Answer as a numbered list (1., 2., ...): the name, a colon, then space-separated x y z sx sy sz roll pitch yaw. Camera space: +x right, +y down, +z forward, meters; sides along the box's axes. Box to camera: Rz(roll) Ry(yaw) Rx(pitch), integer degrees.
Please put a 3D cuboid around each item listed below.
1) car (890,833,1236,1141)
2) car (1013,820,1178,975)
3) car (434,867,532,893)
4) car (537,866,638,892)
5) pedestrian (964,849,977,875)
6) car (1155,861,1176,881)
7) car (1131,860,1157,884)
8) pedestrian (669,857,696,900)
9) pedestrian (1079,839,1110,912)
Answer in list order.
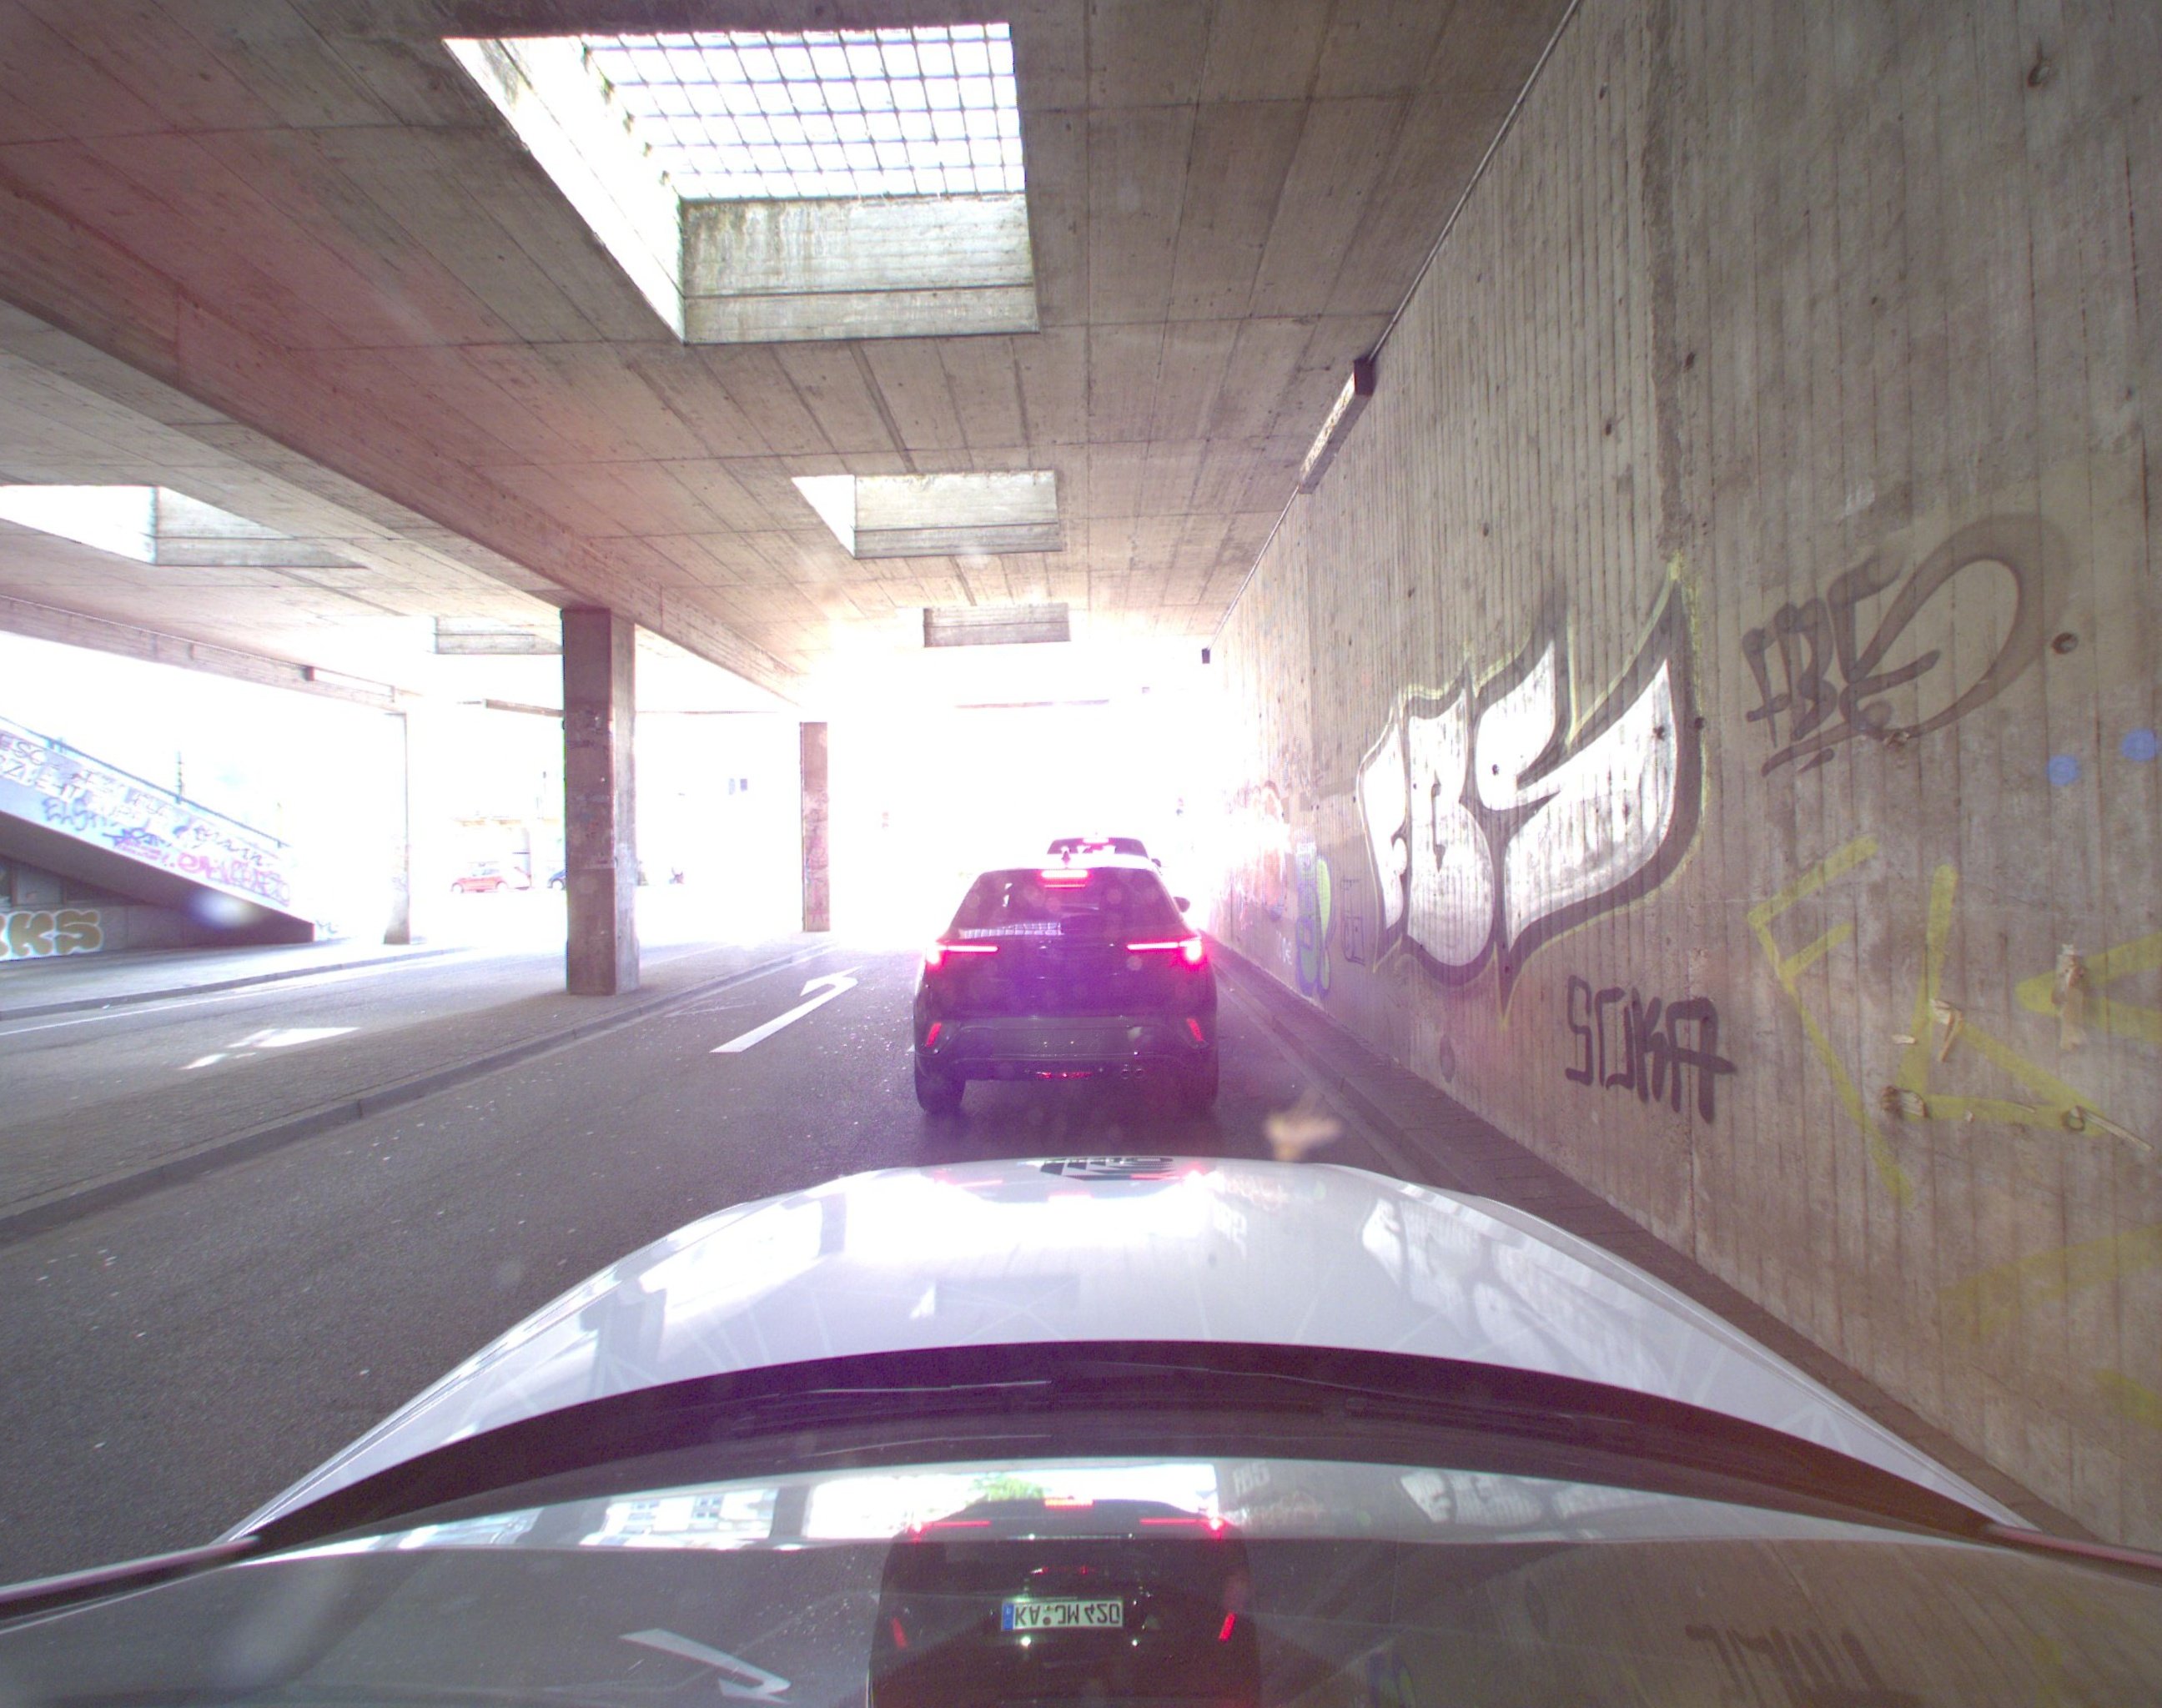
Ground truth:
1. car: -0.029 0.646 6.163 1.758 1.571 4.002 0 1 2
2. car: 0.244 0.536 12.103 1.986 1.871 4.002 -2 0 2
3. car: -33.133 1.431 45.179 3.975 1.409 1.925 0 -1 -1
4. car: -27.284 1.365 45.137 4.393 1.409 1.925 0 -1 -1
5. pedestrian: -9.110 0.680 67.083 0.887 2.088 0.810 -1 -1 9
6. car: 8.590 1.724 82.410 1.983 1.970 4.172 0 -1 7
7. car: 5.350 1.484 69.067 1.983 1.970 4.172 0 -1 7
8. pedestrian: -15.678 0.956 32.046 0.669 1.637 0.741 0 -1 1
9. pedestrian: 0.336 0.511 19.917 0.728 1.734 0.874 0 -1 1
